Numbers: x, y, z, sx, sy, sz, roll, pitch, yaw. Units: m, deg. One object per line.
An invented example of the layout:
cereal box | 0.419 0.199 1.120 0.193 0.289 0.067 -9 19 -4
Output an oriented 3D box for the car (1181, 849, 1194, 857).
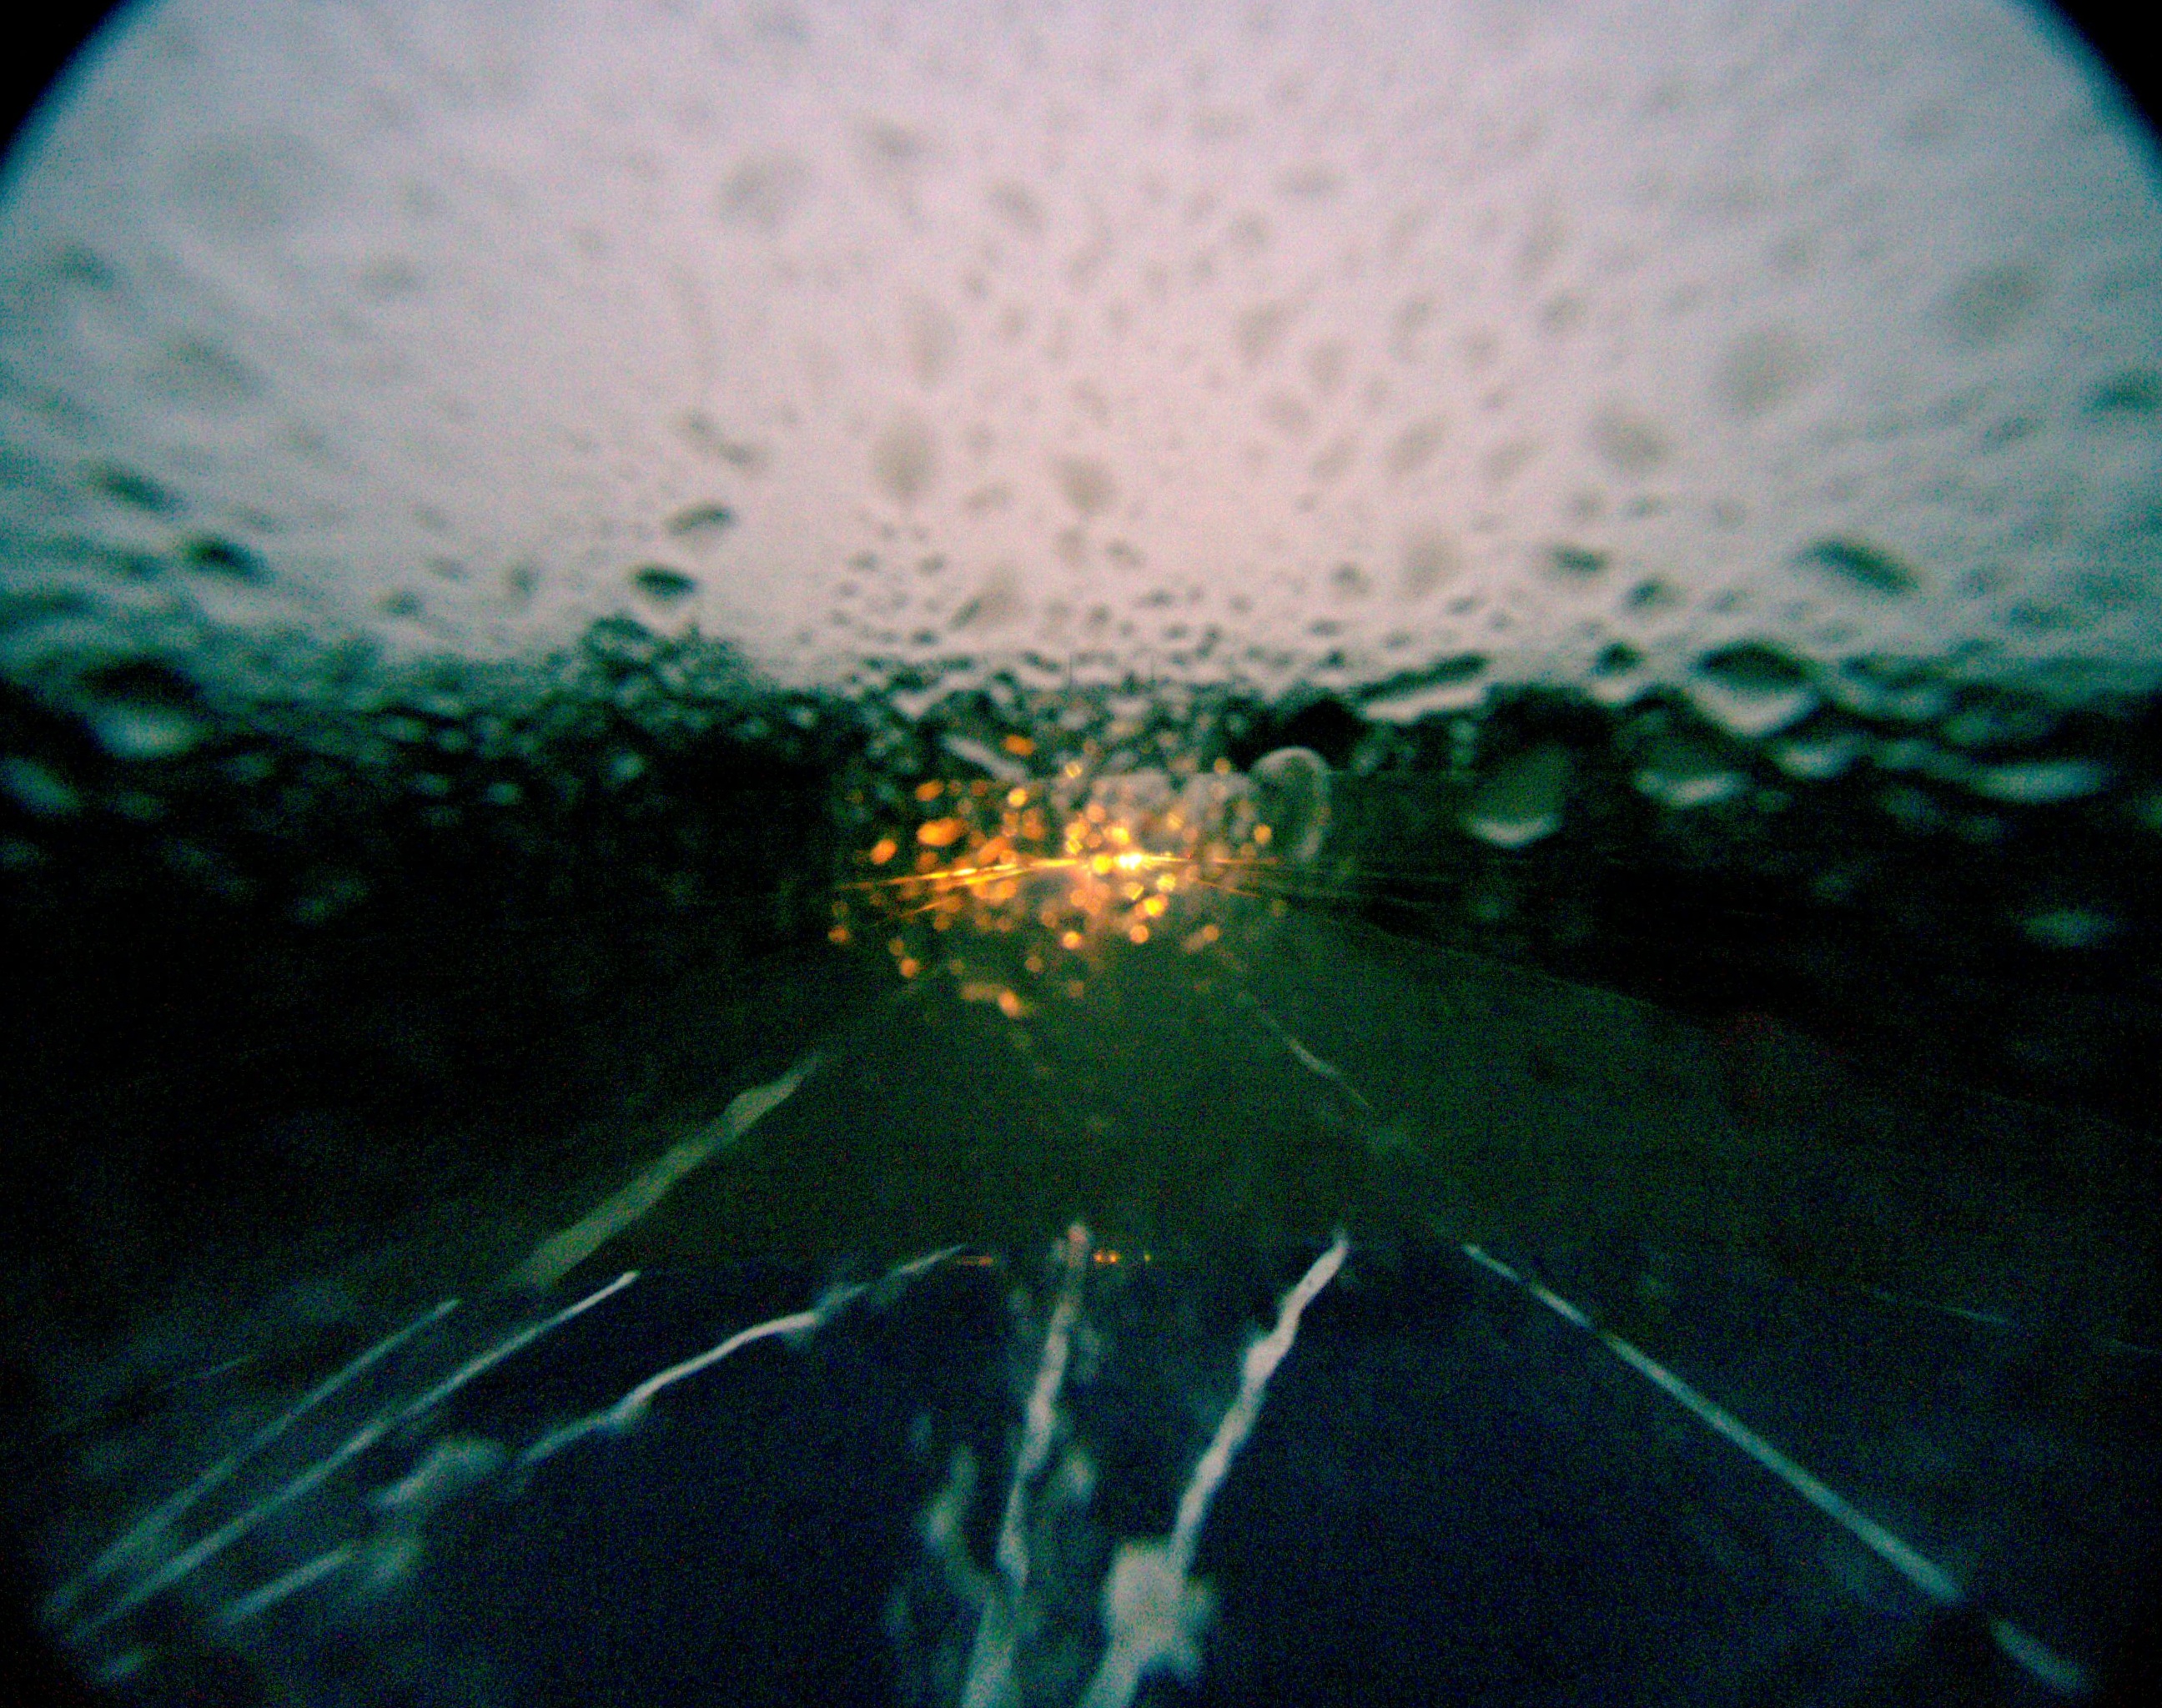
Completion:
car | 23.612 -0.180 169.213 1.852 1.675 3.998 -4 0 -6

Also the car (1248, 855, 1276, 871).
car | 14.499 0.730 60.941 1.438 1.215 3.367 -2 0 0

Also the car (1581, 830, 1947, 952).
car | 10.611 0.504 12.395 1.882 1.570 4.480 -2 0 -1

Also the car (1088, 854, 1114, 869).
car | 2.078 0.769 79.161 1.951 1.511 4.791 -2 0 10

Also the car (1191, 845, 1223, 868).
car | 11.425 0.230 69.197 1.998 1.862 5.270 -4 0 1

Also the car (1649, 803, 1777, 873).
car | 28.386 -0.674 34.362 2.194 2.756 4.581 -4 0 8
